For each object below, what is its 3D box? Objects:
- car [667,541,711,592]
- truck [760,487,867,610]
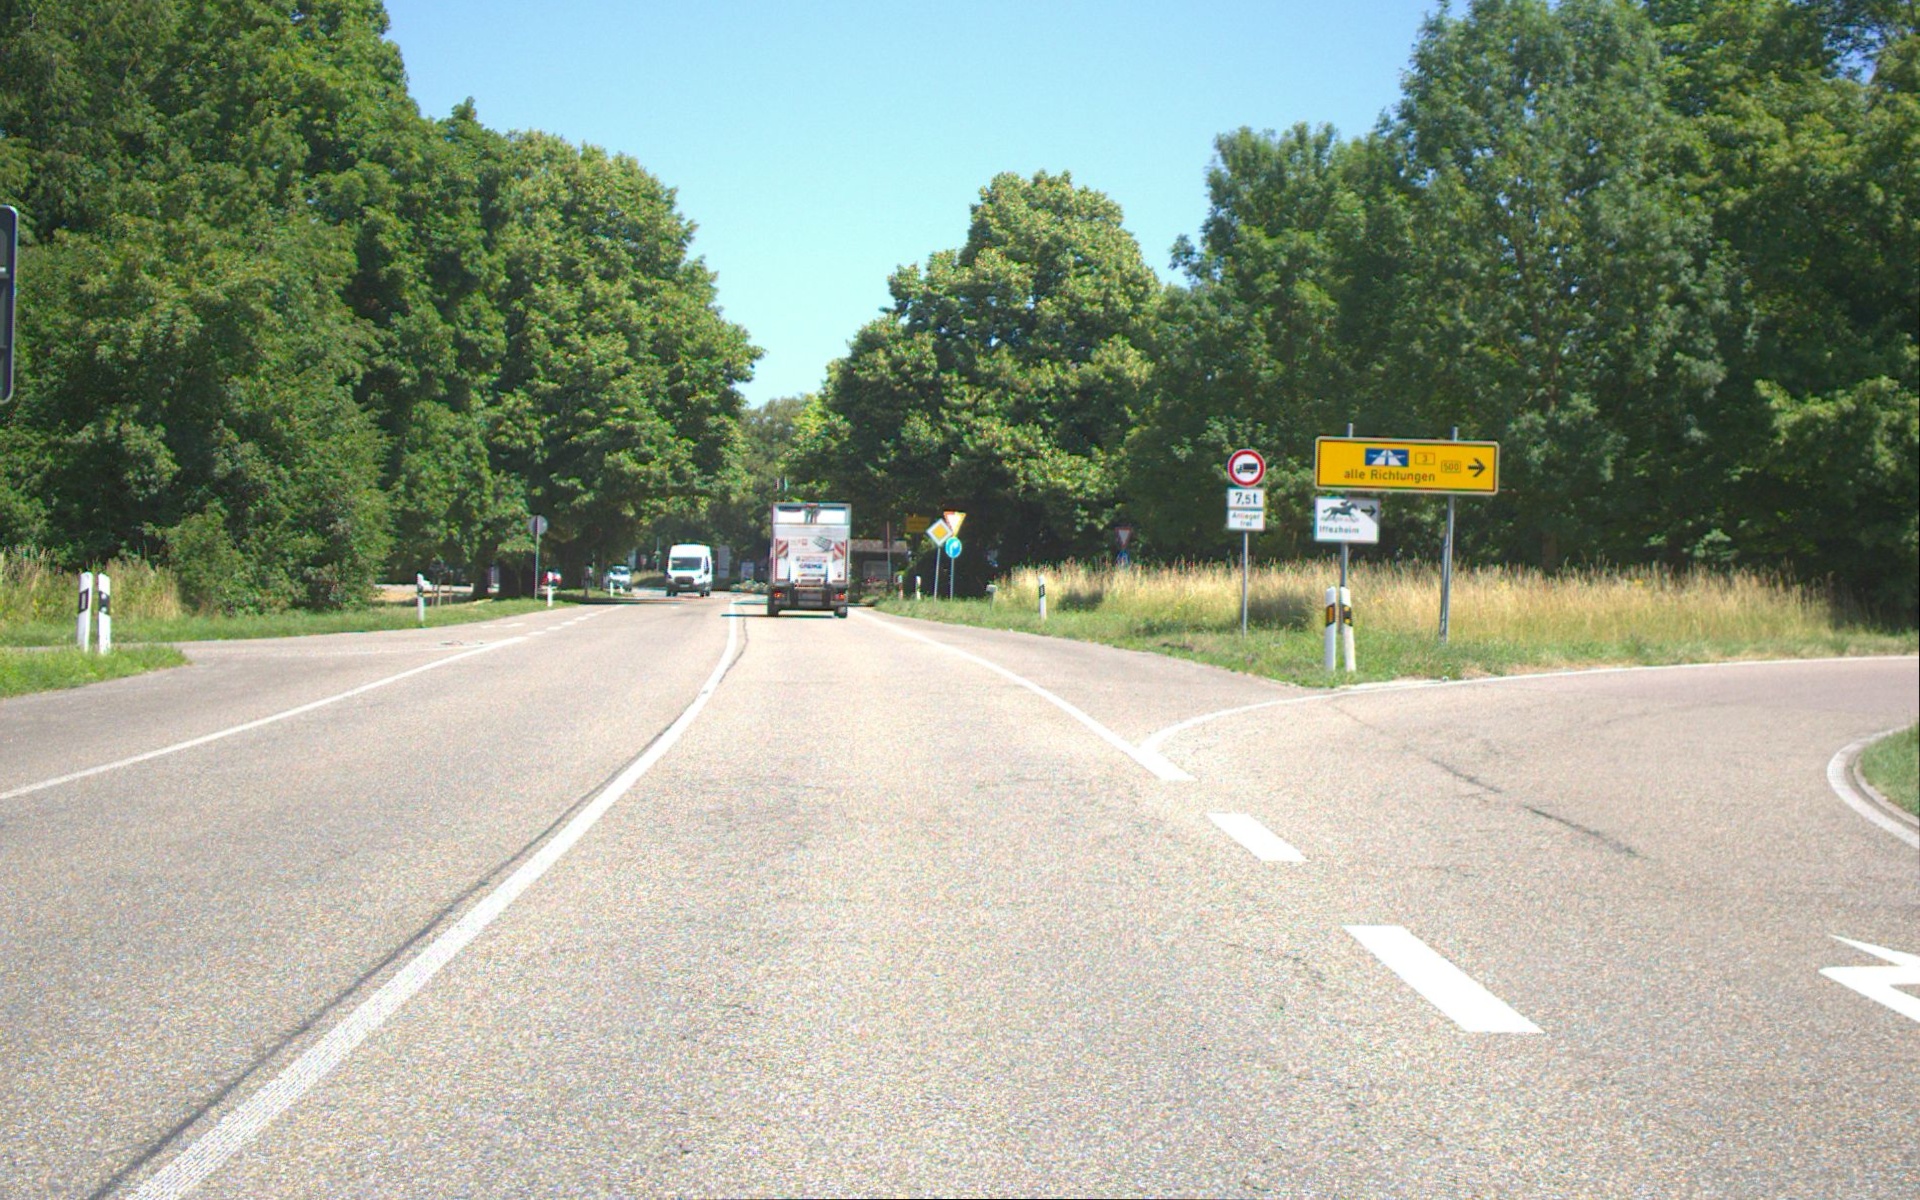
[{"bbox_3d":[-14.321,-1.762,181.814,2.073,2.618,6.784,1,0,-2],"label":"car"},{"bbox_3d":[-3.835,-1.371,91.059,2.534,3.124,5.361,1,1,0],"label":"truck"}]
